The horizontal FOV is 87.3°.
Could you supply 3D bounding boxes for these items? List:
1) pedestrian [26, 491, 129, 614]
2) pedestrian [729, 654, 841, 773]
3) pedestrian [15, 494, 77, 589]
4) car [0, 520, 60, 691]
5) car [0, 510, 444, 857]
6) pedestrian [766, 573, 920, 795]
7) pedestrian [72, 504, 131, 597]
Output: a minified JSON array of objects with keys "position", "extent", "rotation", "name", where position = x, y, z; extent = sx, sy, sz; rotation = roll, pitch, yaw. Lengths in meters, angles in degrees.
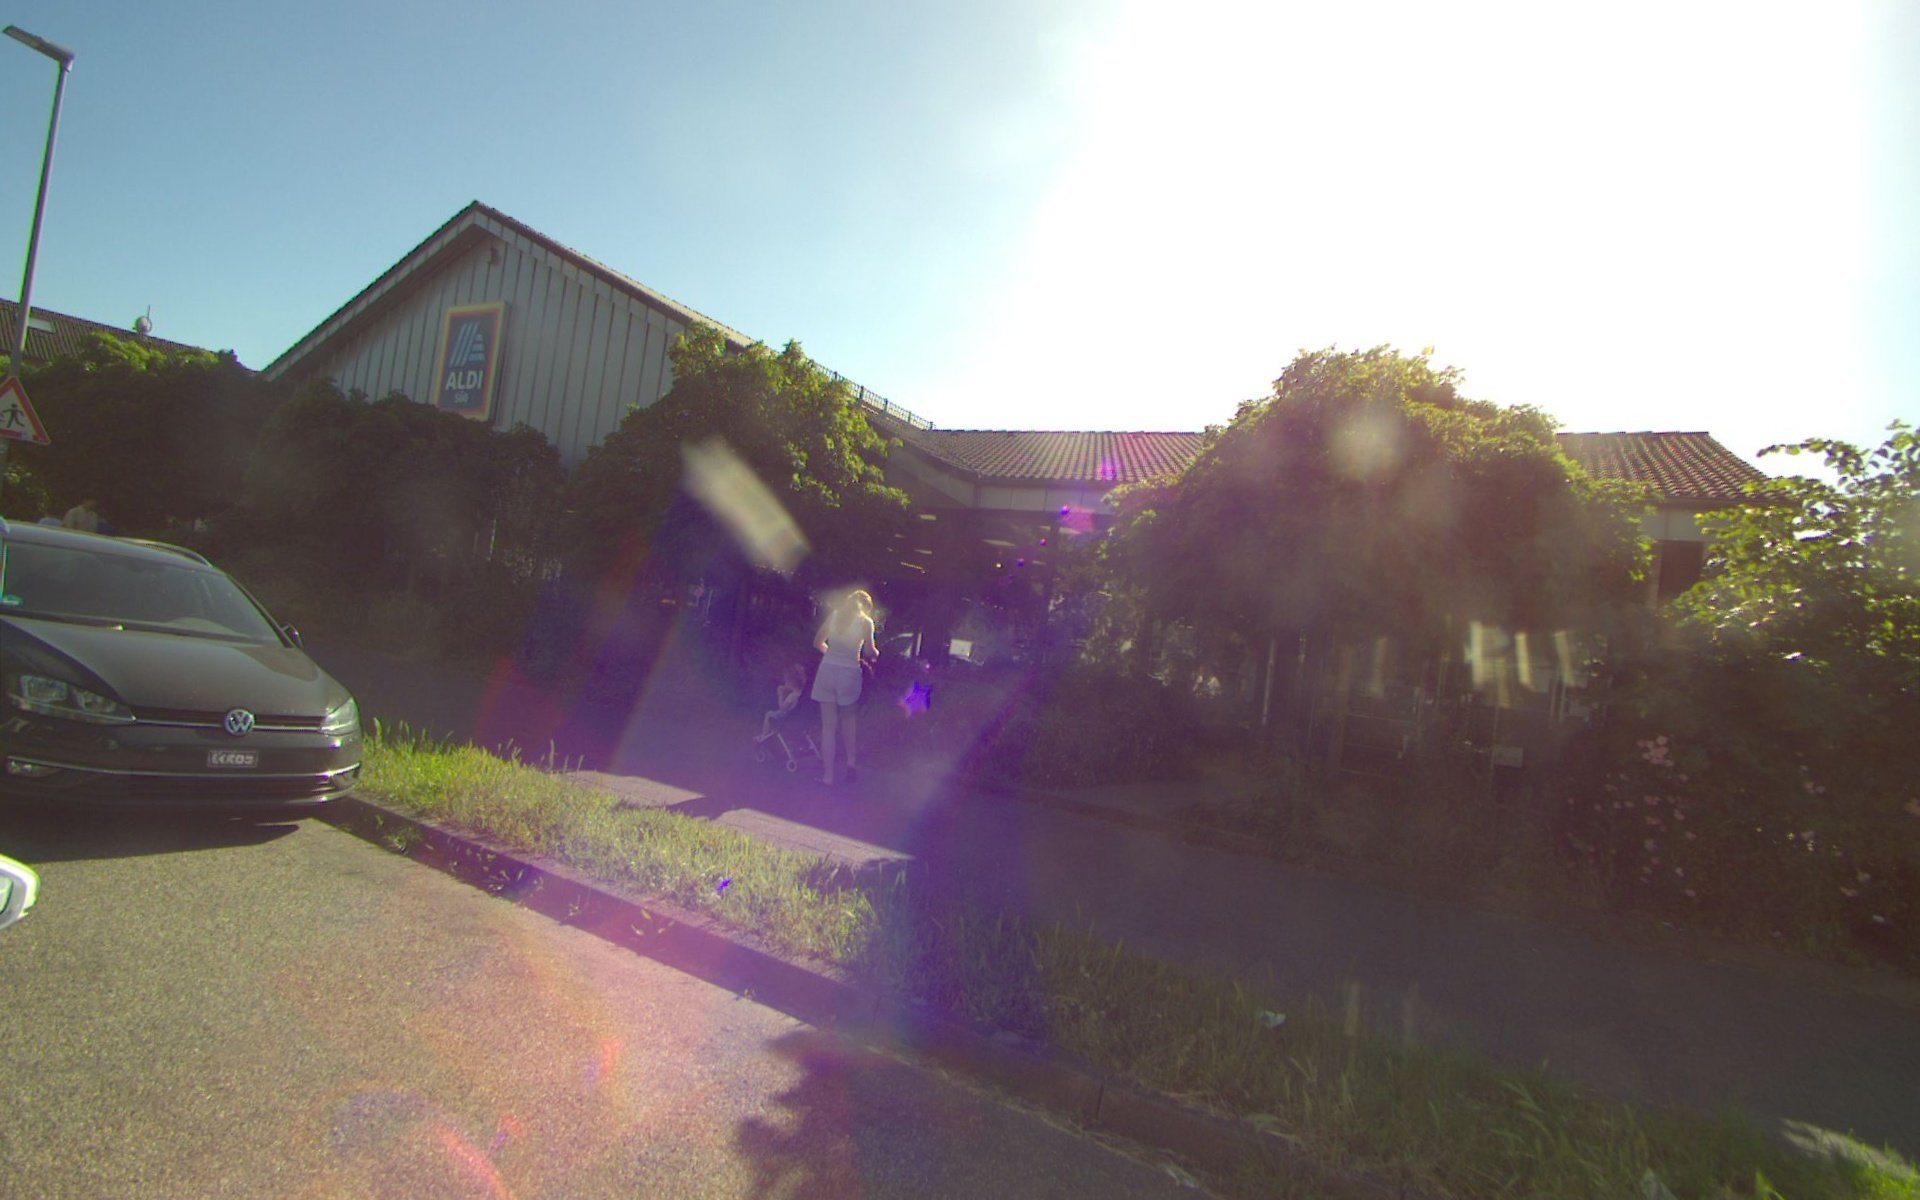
[{"position":[-14.692,-0.783,16.757],"extent":[0.858,1.882,0.797],"rotation":[7,-2,24],"name":"pedestrian"},{"position":[-1.653,1.066,9.479],"extent":[0.798,0.991,0.532],"rotation":[6,-3,39],"name":"pedestrian"},{"position":[-16.841,-1.073,18.536],"extent":[0.538,1.655,0.567],"rotation":[7,-2,37],"name":"pedestrian"},{"position":[-10.331,-0.208,9.223],"extent":[3.932,1.467,1.832],"rotation":[6,-3,30],"name":"car"},{"position":[-5.354,0.267,6.164],"extent":[4.291,1.459,1.812],"rotation":[7,-3,32],"name":"car"},{"position":[-1.026,0.736,8.896],"extent":[0.797,1.802,0.798],"rotation":[7,-2,39],"name":"pedestrian"},{"position":[-16.348,-0.942,19.164],"extent":[0.538,1.655,0.567],"rotation":[7,-2,37],"name":"pedestrian"}]
